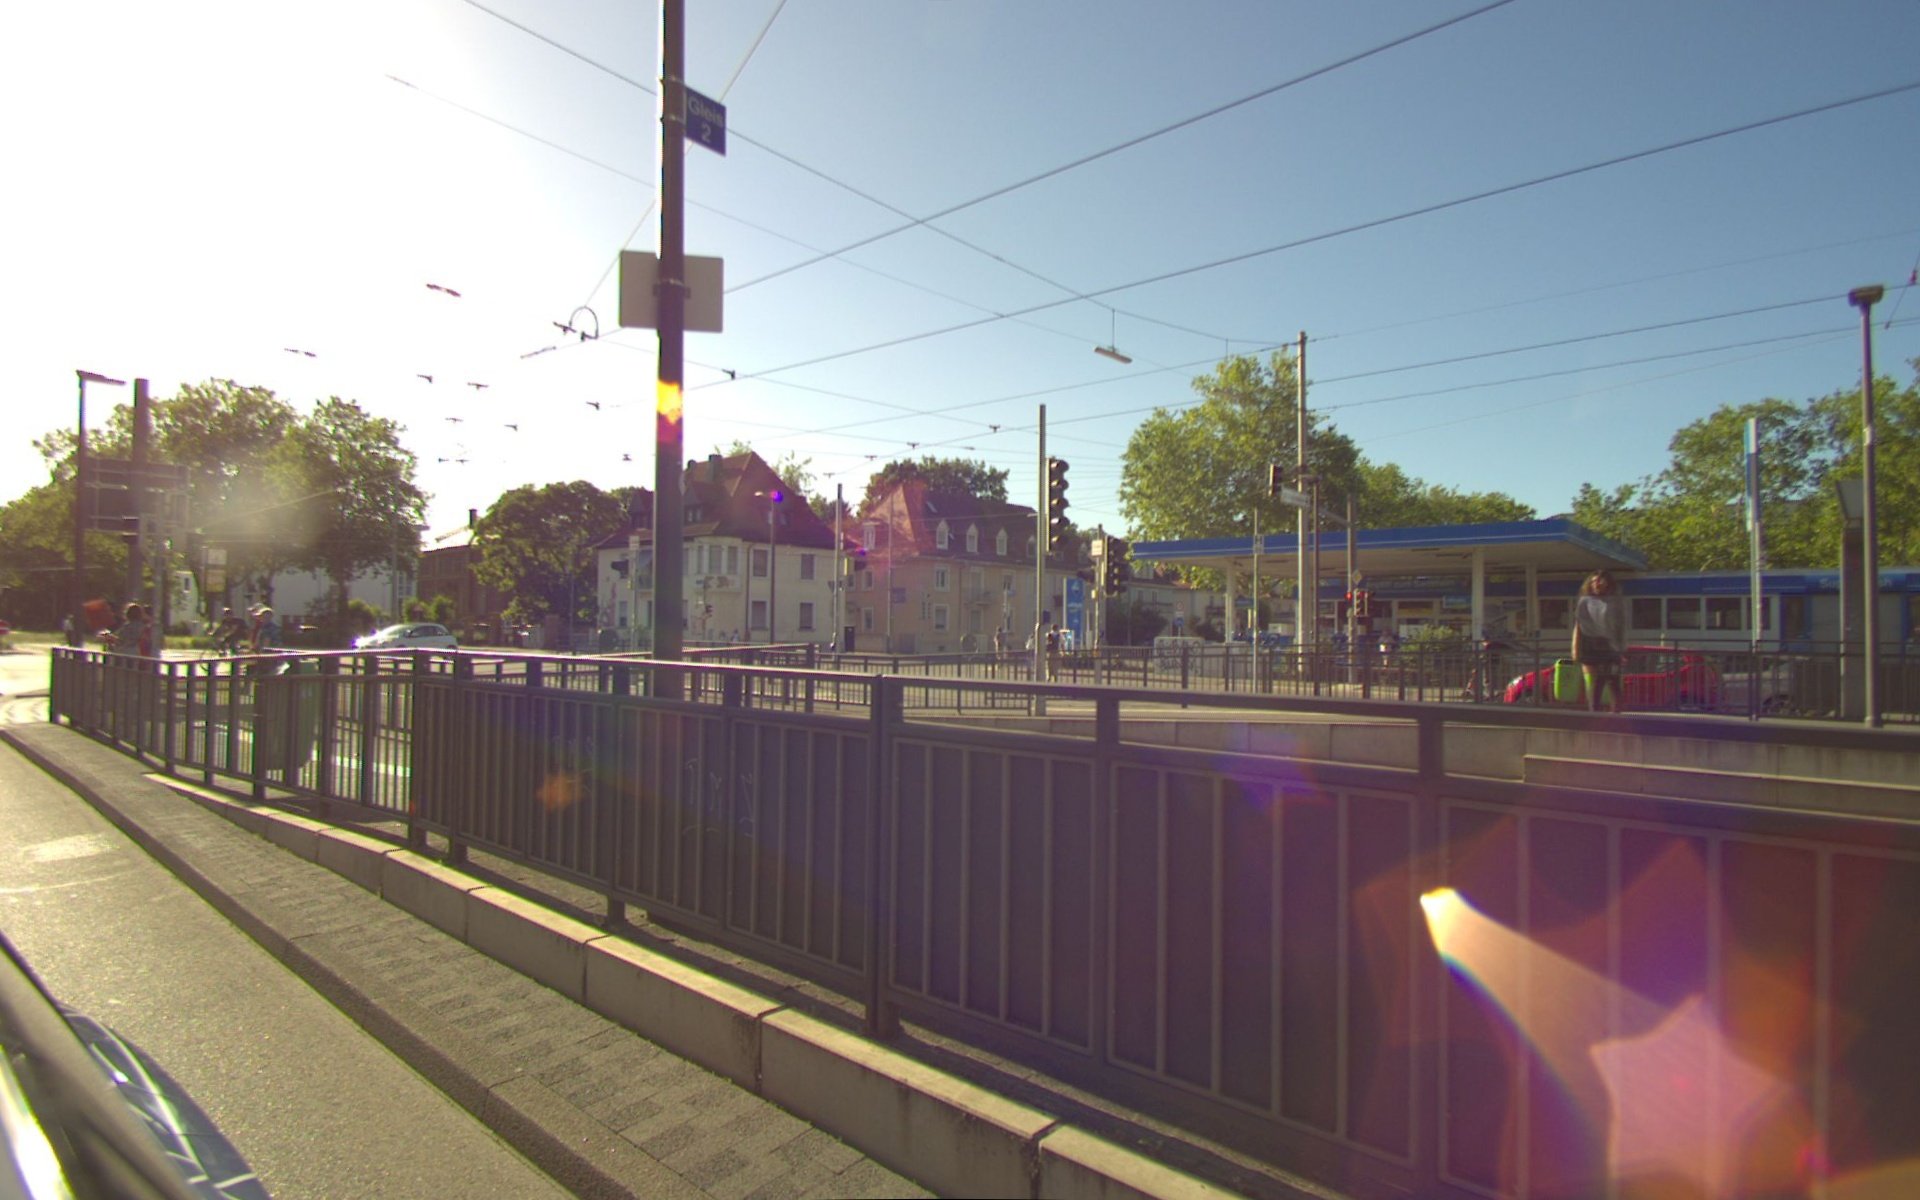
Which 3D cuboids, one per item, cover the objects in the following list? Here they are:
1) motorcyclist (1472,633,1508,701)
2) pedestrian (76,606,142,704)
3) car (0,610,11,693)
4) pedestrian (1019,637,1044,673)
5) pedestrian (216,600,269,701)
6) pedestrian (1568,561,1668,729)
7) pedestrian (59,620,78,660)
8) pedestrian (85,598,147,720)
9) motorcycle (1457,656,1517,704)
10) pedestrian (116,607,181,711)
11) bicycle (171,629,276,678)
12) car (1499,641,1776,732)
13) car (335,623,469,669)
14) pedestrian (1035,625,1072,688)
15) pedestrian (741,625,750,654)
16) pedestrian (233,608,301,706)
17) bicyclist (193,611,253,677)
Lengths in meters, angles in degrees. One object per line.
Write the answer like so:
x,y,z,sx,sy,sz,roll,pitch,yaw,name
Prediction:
14.739,1.851,28.142,0.544,1.866,0.745,2,-3,-45,motorcyclist
-15.135,0.964,18.008,0.776,1.703,0.788,-1,-3,44,pedestrian
-19.671,1.014,18.347,1.947,1.682,4.635,0,-1,-21,car
3.027,2.311,42.811,0.800,1.495,0.758,-1,-2,39,pedestrian
-13.447,0.930,18.969,0.808,1.846,0.642,-1,-3,44,pedestrian
6.617,0.443,10.176,0.735,1.604,0.677,-1,-2,42,pedestrian
-41.298,1.848,46.888,0.572,1.849,0.560,2,-2,-39,pedestrian
-13.110,0.898,15.722,0.776,1.841,0.628,-1,-3,44,pedestrian
14.675,2.221,28.198,0.543,1.254,1.388,2,-2,-45,motorcycle
-13.760,0.978,17.168,0.776,1.703,0.733,-1,-3,44,pedestrian
-21.699,1.548,29.889,1.013,1.367,2.368,0,-2,14,bicycle
12.373,1.501,18.633,4.000,1.431,1.778,-1,-2,43,car
-21.069,1.702,38.403,1.984,1.616,4.246,0,-2,19,car
2.594,1.557,28.128,0.824,1.703,0.646,-1,-2,33,pedestrian
-13.355,2.448,63.058,0.409,1.756,0.411,-2,-3,41,pedestrian
-12.489,1.003,18.228,1.008,1.703,0.792,-1,-3,44,pedestrian
-21.704,1.281,29.812,0.984,1.897,0.999,0,-2,15,bicyclist
